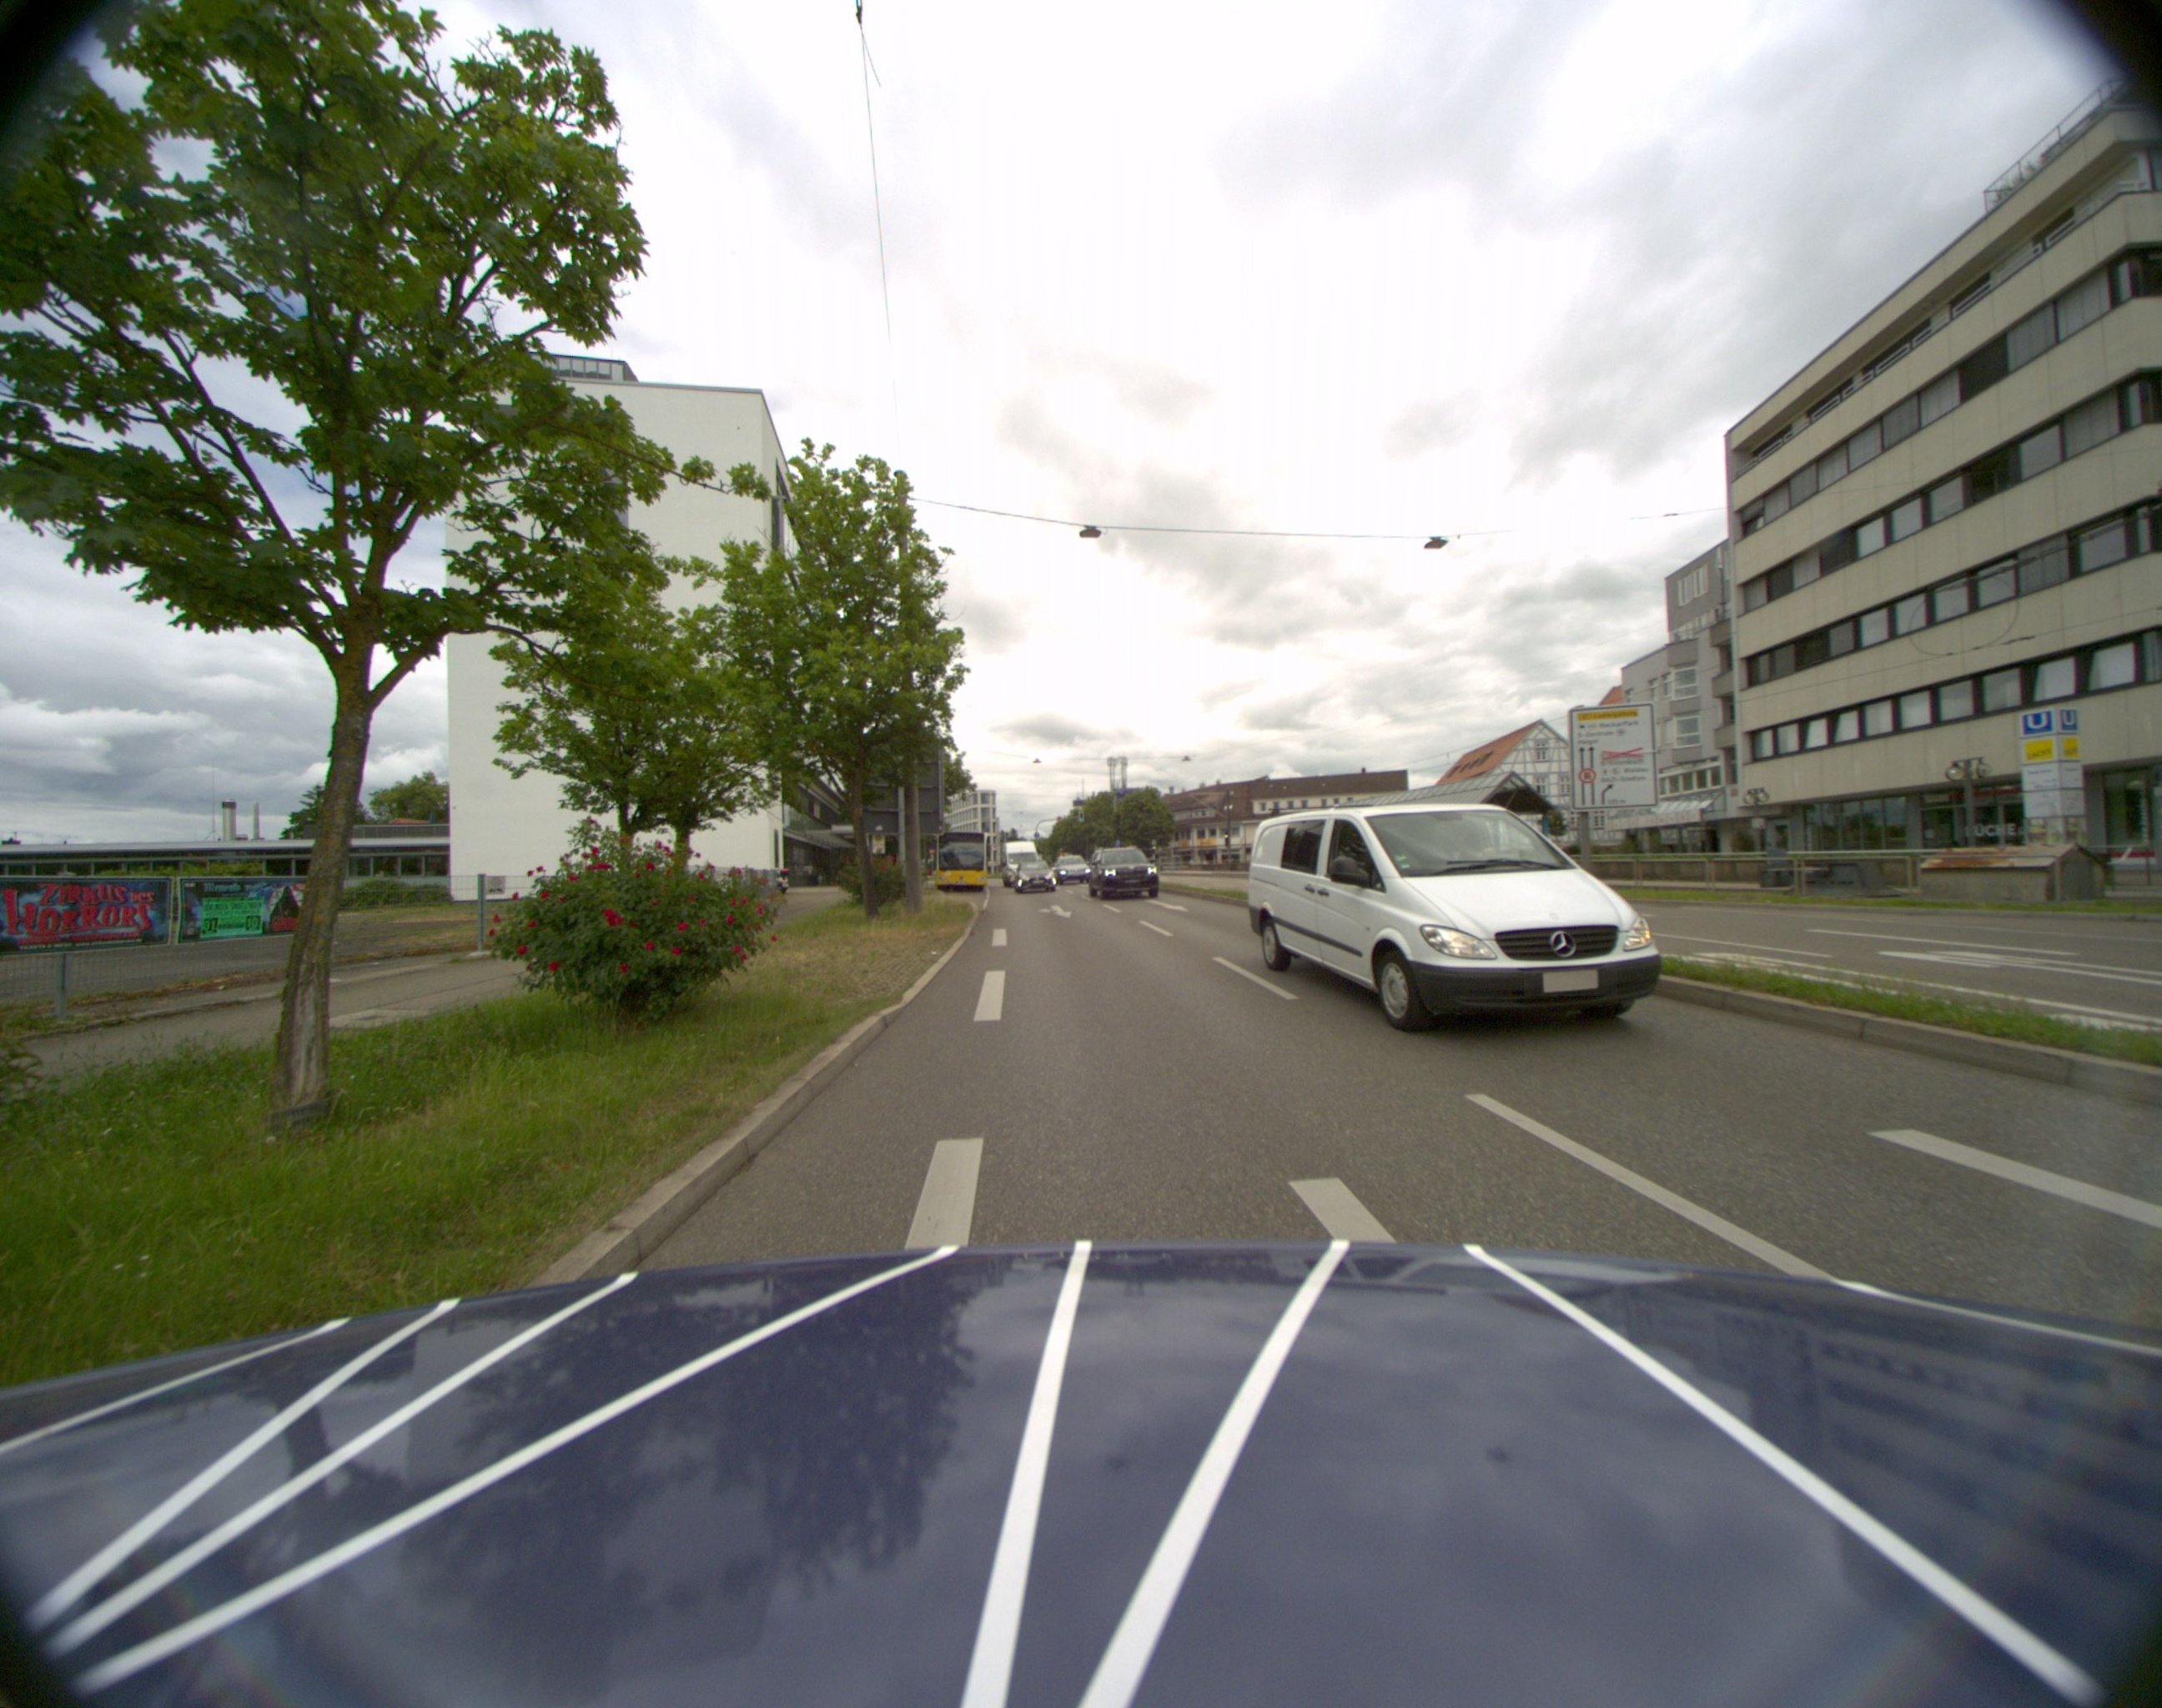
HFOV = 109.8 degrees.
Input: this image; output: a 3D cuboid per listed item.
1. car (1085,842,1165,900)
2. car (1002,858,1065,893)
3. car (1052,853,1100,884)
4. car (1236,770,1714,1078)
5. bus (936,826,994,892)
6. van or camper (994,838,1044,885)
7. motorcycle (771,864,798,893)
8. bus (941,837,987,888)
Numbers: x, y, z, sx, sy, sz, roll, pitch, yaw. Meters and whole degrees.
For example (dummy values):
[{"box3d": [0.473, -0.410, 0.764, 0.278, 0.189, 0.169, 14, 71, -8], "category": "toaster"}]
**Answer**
[{"box3d": [1.415, 0.573, 26.538, 1.928, 1.741, 4.676, -3, 0, -7], "category": "car"}, {"box3d": [-2.258, 0.975, 35.336, 1.866, 1.516, 3.994, -1, -1, -20], "category": "car"}, {"box3d": [-0.367, 0.815, 44.262, 2.000, 1.640, 4.390, -3, 0, -10], "category": "car"}, {"box3d": [3.216, 0.498, 7.695, 1.879, 2.001, 5.074, -3, -1, -4], "category": "car"}, {"box3d": [-6.347, 0.327, 41.481, 2.721, 3.145, 9.121, 1, -1, -9], "category": "bus"}, {"box3d": [-3.945, 0.492, 47.169, 2.282, 2.690, 6.989, -1, -1, -11], "category": "van or camper"}, {"box3d": [-12.957, 1.070, 33.178, 0.585, 1.214, 1.577, -2, 1, -40], "category": "motorcycle"}, {"box3d": [-7.804, 0.568, 50.377, 2.721, 3.090, 8.863, 0, -1, -9], "category": "bus"}]
